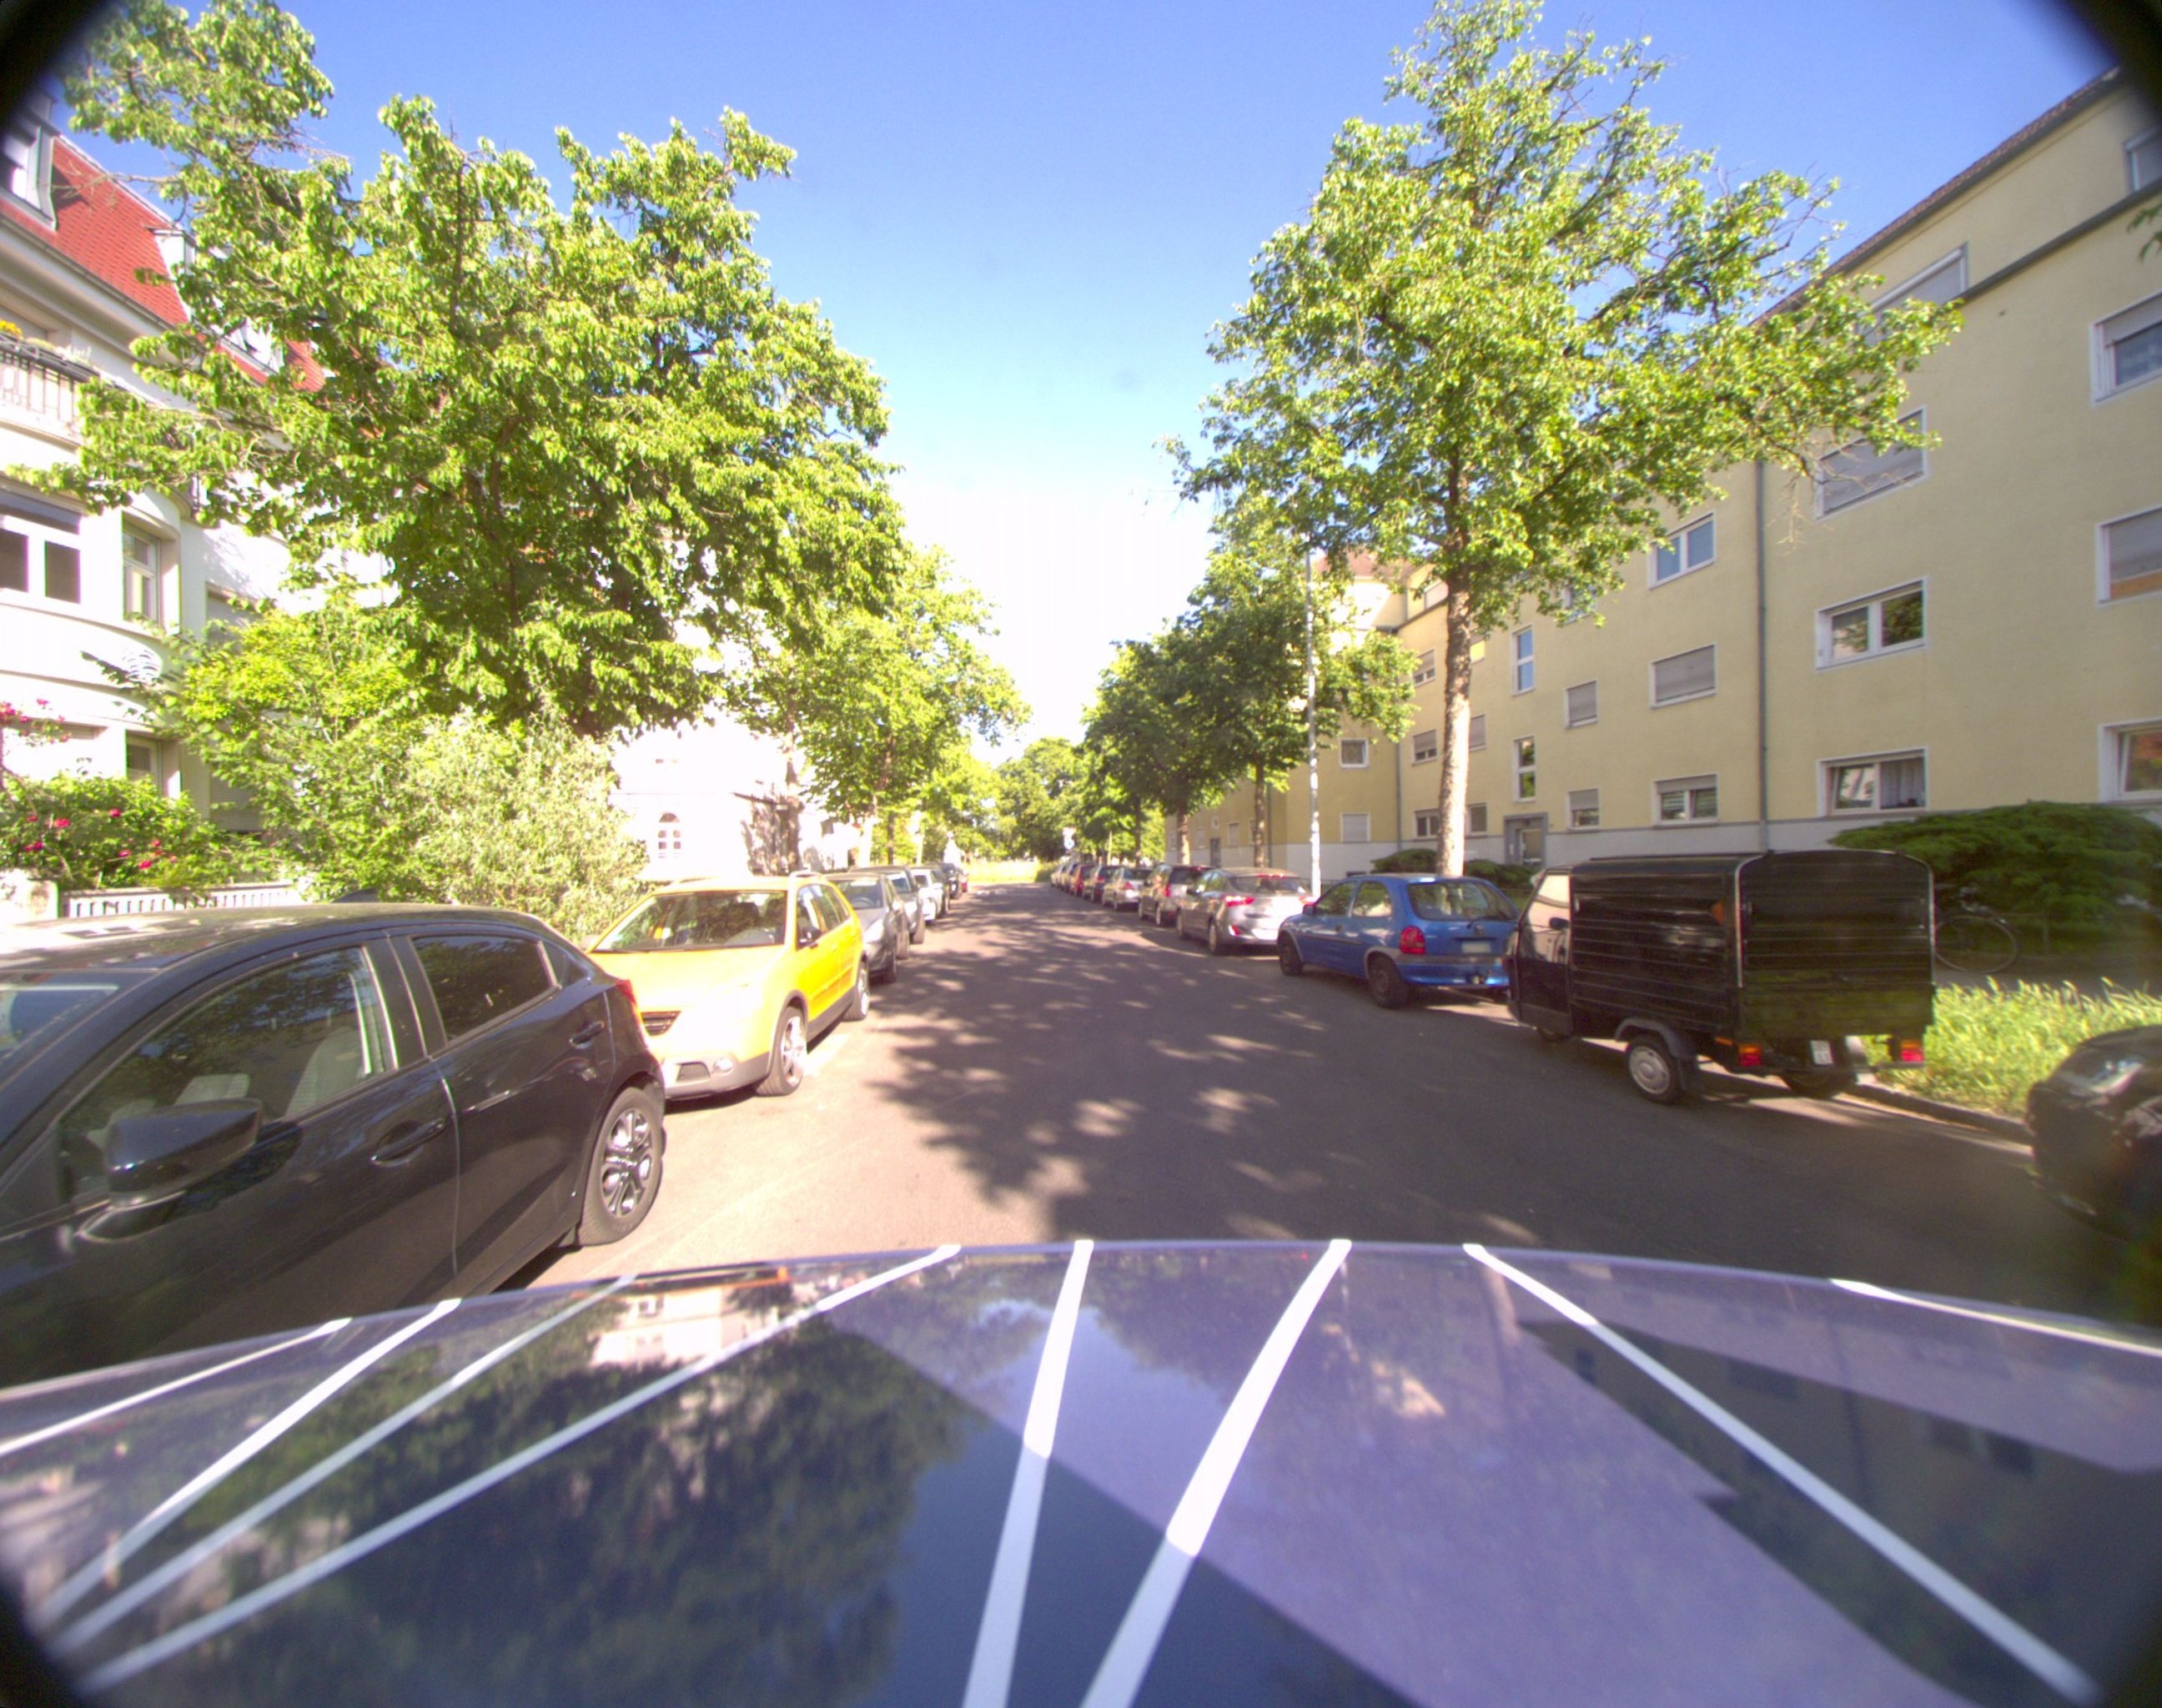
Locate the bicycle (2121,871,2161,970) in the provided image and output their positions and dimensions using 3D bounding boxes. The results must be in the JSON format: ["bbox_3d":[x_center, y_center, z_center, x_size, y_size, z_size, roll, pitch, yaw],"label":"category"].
[{"bbox_3d":[12.983,0.717,8.608,1.844,1.075,0.486,-3,2,-3],"label":"bicycle"}]

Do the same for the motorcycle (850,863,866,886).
[{"bbox_3d":[-13.395,1.214,45.630,0.541,1.353,2.088,-1,0,-6],"label":"motorcycle"}]

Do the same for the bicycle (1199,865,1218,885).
[{"bbox_3d":[6.679,1.081,39.865,0.542,1.021,1.747,-1,0,-5],"label":"bicycle"}]

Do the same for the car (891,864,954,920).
[{"bbox_3d":[-5.239,1.198,25.579,1.689,1.578,4.532,-3,0,-8],"label":"car"}]

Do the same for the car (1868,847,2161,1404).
[{"bbox_3d":[4.379,0.828,0.680,1.855,1.670,4.973,2,-1,-7],"label":"car"}]

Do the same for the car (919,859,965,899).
[{"bbox_3d":[-6.295,1.096,34.774,1.786,1.688,4.295,0,0,-7],"label":"car"}]

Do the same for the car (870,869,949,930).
[{"bbox_3d":[-4.624,1.173,21.027,1.635,1.416,4.365,0,0,-6],"label":"car"}]

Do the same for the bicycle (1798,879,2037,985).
[{"bbox_3d":[9.866,0.864,9.050,0.487,1.075,1.841,-4,2,-30],"label":"bicycle"}]

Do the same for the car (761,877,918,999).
[{"bbox_3d":[-3.412,1.097,11.343,1.654,1.420,3.610,0,0,-8],"label":"car"}]

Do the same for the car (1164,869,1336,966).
[{"bbox_3d":[2.882,1.035,14.091,1.797,1.436,4.686,1,0,-5],"label":"car"}]

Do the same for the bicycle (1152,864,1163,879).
[{"bbox_3d":[5.163,1.162,51.423,0.476,0.995,1.544,-1,0,-6],"label":"bicycle"}]

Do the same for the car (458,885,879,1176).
[{"bbox_3d":[-2.837,1.058,6.316,1.642,1.446,4.097,-1,0,-7],"label":"car"}]

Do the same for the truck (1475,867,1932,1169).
[{"bbox_3d":[3.986,0.895,5.294,1.087,1.568,2.431,-1,0,-4],"label":"truck"}]

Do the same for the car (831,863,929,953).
[{"bbox_3d":[-4.210,1.052,16.402,1.654,1.646,3.844,-1,0,-9],"label":"car"}]

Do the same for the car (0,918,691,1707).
[{"bbox_3d":[-2.633,1.035,1.748,1.705,1.440,4.080,0,0,-6],"label":"car"}]

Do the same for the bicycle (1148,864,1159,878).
[{"bbox_3d":[5.034,1.178,53.061,0.477,0.995,1.544,-1,0,-6],"label":"bicycle"}]

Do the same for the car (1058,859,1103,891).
[{"bbox_3d":[-0.084,1.080,40.422,1.697,1.555,4.732,-1,0,-8],"label":"car"}]

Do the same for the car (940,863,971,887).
[{"bbox_3d":[-7.670,1.249,46.627,1.658,1.394,4.133,-1,0,-7],"label":"car"}]

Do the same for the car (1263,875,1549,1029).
[{"bbox_3d":[3.655,0.999,9.305,1.525,1.387,3.724,-1,0,-8],"label":"car"}]

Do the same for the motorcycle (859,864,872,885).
[{"bbox_3d":[-13.618,1.272,47.980,0.659,1.272,1.798,1,0,-13],"label":"motorcycle"}]

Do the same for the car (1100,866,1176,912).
[{"bbox_3d":[1.806,1.103,25.589,1.751,1.360,4.671,0,0,-6],"label":"car"}]

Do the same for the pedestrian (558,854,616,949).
[{"bbox_3d":[-9.450,0.891,14.554,0.624,1.764,0.799,0,0,-6],"label":"pedestrian"}]

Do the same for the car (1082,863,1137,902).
[{"bbox_3d":[1.107,1.096,31.019,1.670,1.450,3.930,-1,0,-6],"label":"car"}]

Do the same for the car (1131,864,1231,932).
[{"bbox_3d":[2.457,1.059,19.690,1.625,1.506,4.267,1,0,-6],"label":"car"}]

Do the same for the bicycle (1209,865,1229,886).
[{"bbox_3d":[6.899,1.059,37.946,0.537,1.021,1.747,-1,0,-5],"label":"bicycle"}]

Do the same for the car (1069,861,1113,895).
[{"bbox_3d":[0.439,1.096,35.871,1.670,1.477,3.254,-1,0,-6],"label":"car"}]

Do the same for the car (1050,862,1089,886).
[{"bbox_3d":[-0.755,1.198,46.804,1.766,1.433,3.991,-1,0,-10],"label":"car"}]

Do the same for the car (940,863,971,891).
[{"bbox_3d":[-6.935,1.242,41.844,1.617,1.401,4.348,-1,0,-10],"label":"car"}]

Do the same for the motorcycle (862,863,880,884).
[{"bbox_3d":[-13.742,1.265,49.847,0.974,1.321,1.851,-1,0,-12],"label":"motorcycle"}]
